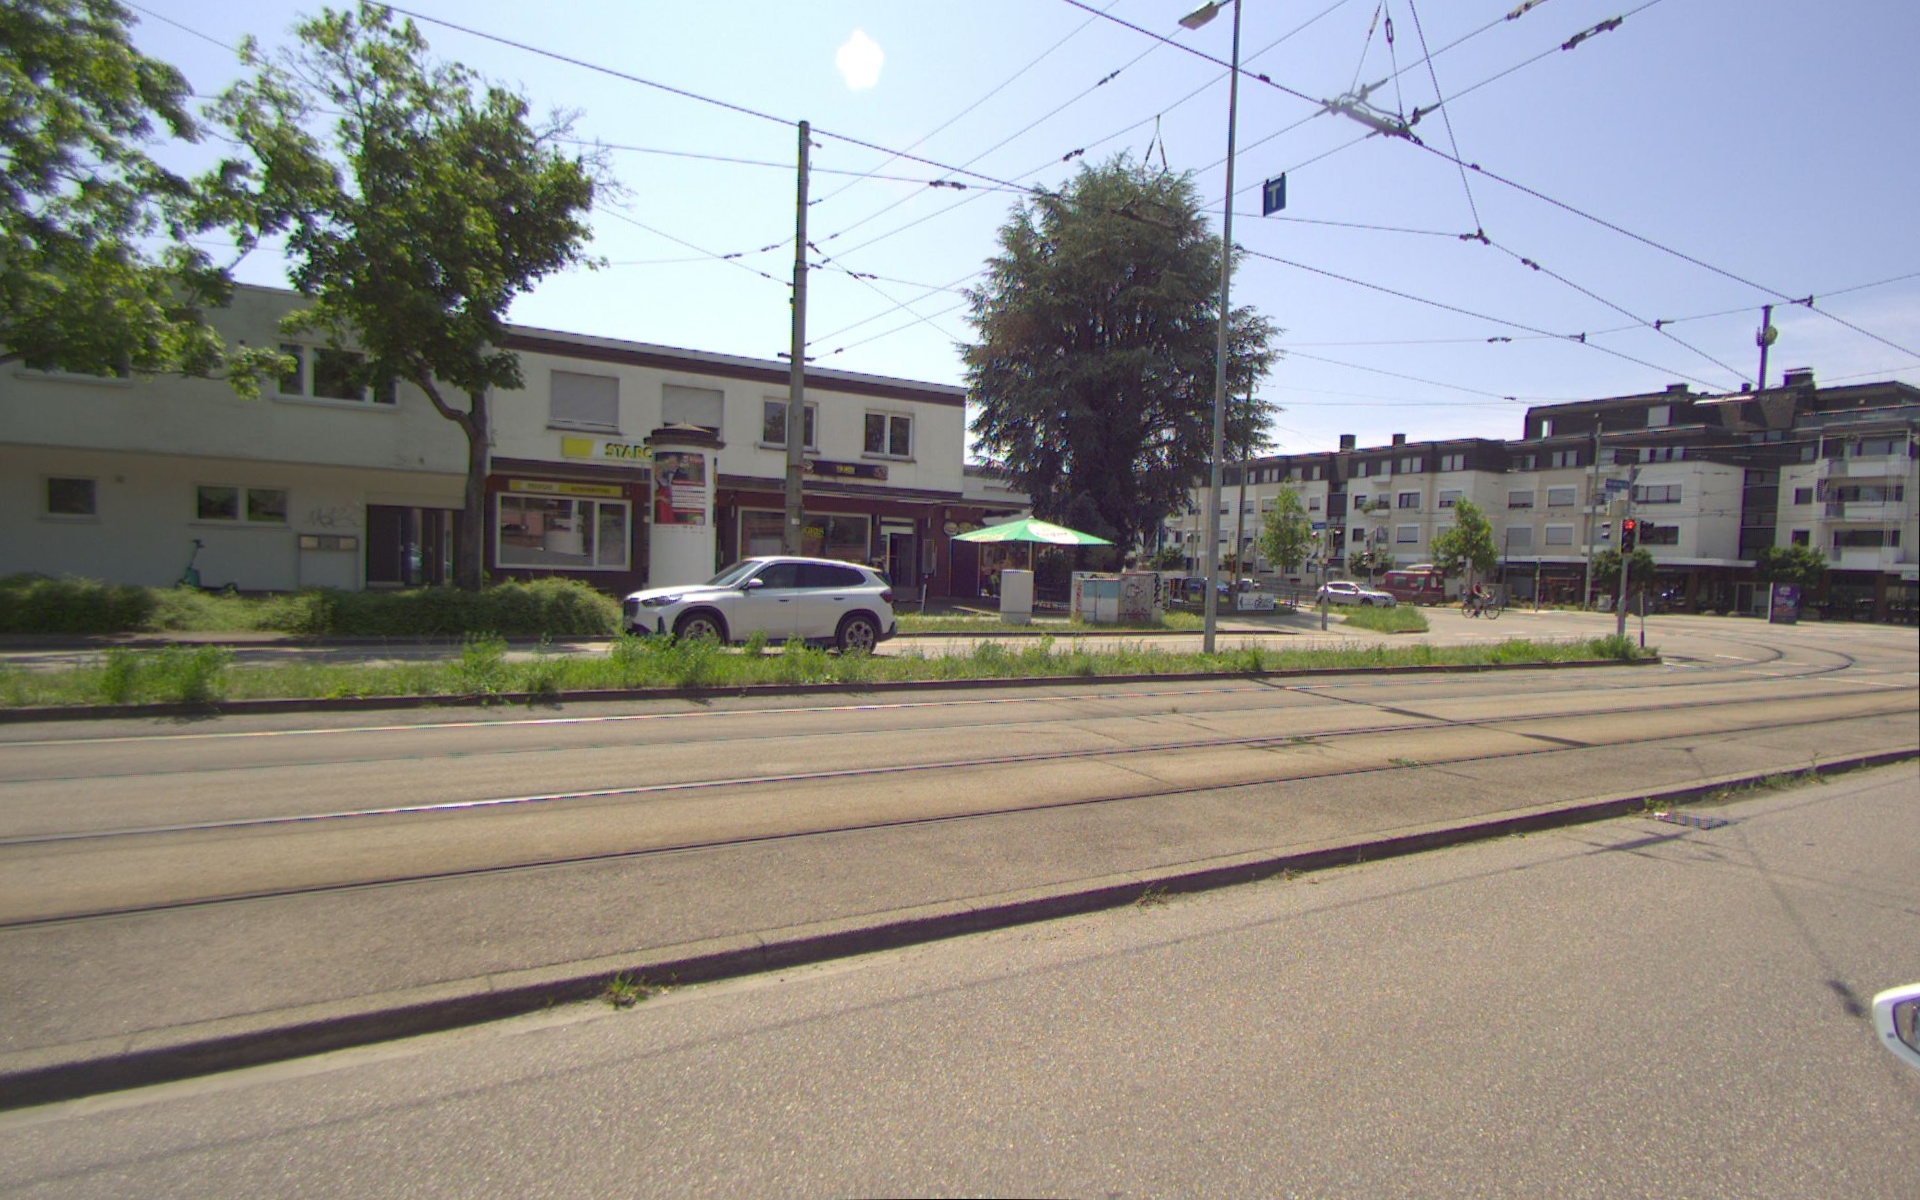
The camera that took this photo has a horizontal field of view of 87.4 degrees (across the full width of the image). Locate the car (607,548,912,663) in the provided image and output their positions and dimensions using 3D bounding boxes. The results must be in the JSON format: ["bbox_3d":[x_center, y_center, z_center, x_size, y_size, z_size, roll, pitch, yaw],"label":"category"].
[{"bbox_3d":[-3.158,0.115,16.259,4.524,1.632,1.712,2,0,-35],"label":"car"}]

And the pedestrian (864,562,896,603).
[{"bbox_3d":[-2.587,-0.558,32.499,0.832,1.285,0.586,2,0,-30],"label":"pedestrian"}]

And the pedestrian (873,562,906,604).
[{"bbox_3d":[-2.246,-0.544,31.856,0.832,1.285,0.586,2,0,-30],"label":"pedestrian"}]

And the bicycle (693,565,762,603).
[{"bbox_3d":[-6.370,-0.433,27.520,1.738,0.992,0.536,2,0,-30],"label":"bicycle"}]

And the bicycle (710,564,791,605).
[{"bbox_3d":[-5.516,-0.402,26.481,2.006,0.992,0.607,2,0,-30],"label":"bicycle"}]

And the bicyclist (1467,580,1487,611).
[{"bbox_3d":[25.341,-0.224,49.207,0.741,1.521,0.480,2,1,39],"label":"bicyclist"}]

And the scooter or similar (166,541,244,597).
[{"bbox_3d":[-17.134,-0.701,22.814,1.321,1.207,0.455,2,0,-10],"label":"scooter or similar"}]

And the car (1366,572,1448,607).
[{"bbox_3d":[32.595,-0.781,73.358,2.219,2.372,5.038,2,0,-31],"label":"car"}]

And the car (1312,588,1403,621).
[{"bbox_3d":[21.278,0.236,53.854,1.925,1.605,4.100,2,0,-42],"label":"car"}]

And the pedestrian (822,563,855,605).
[{"bbox_3d":[-3.841,-0.495,31.809,0.832,1.285,0.586,2,0,-30],"label":"pedestrian"}]

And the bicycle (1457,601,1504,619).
[{"bbox_3d":[25.429,0.480,49.115,1.956,0.794,0.464,2,0,40],"label":"bicycle"}]
